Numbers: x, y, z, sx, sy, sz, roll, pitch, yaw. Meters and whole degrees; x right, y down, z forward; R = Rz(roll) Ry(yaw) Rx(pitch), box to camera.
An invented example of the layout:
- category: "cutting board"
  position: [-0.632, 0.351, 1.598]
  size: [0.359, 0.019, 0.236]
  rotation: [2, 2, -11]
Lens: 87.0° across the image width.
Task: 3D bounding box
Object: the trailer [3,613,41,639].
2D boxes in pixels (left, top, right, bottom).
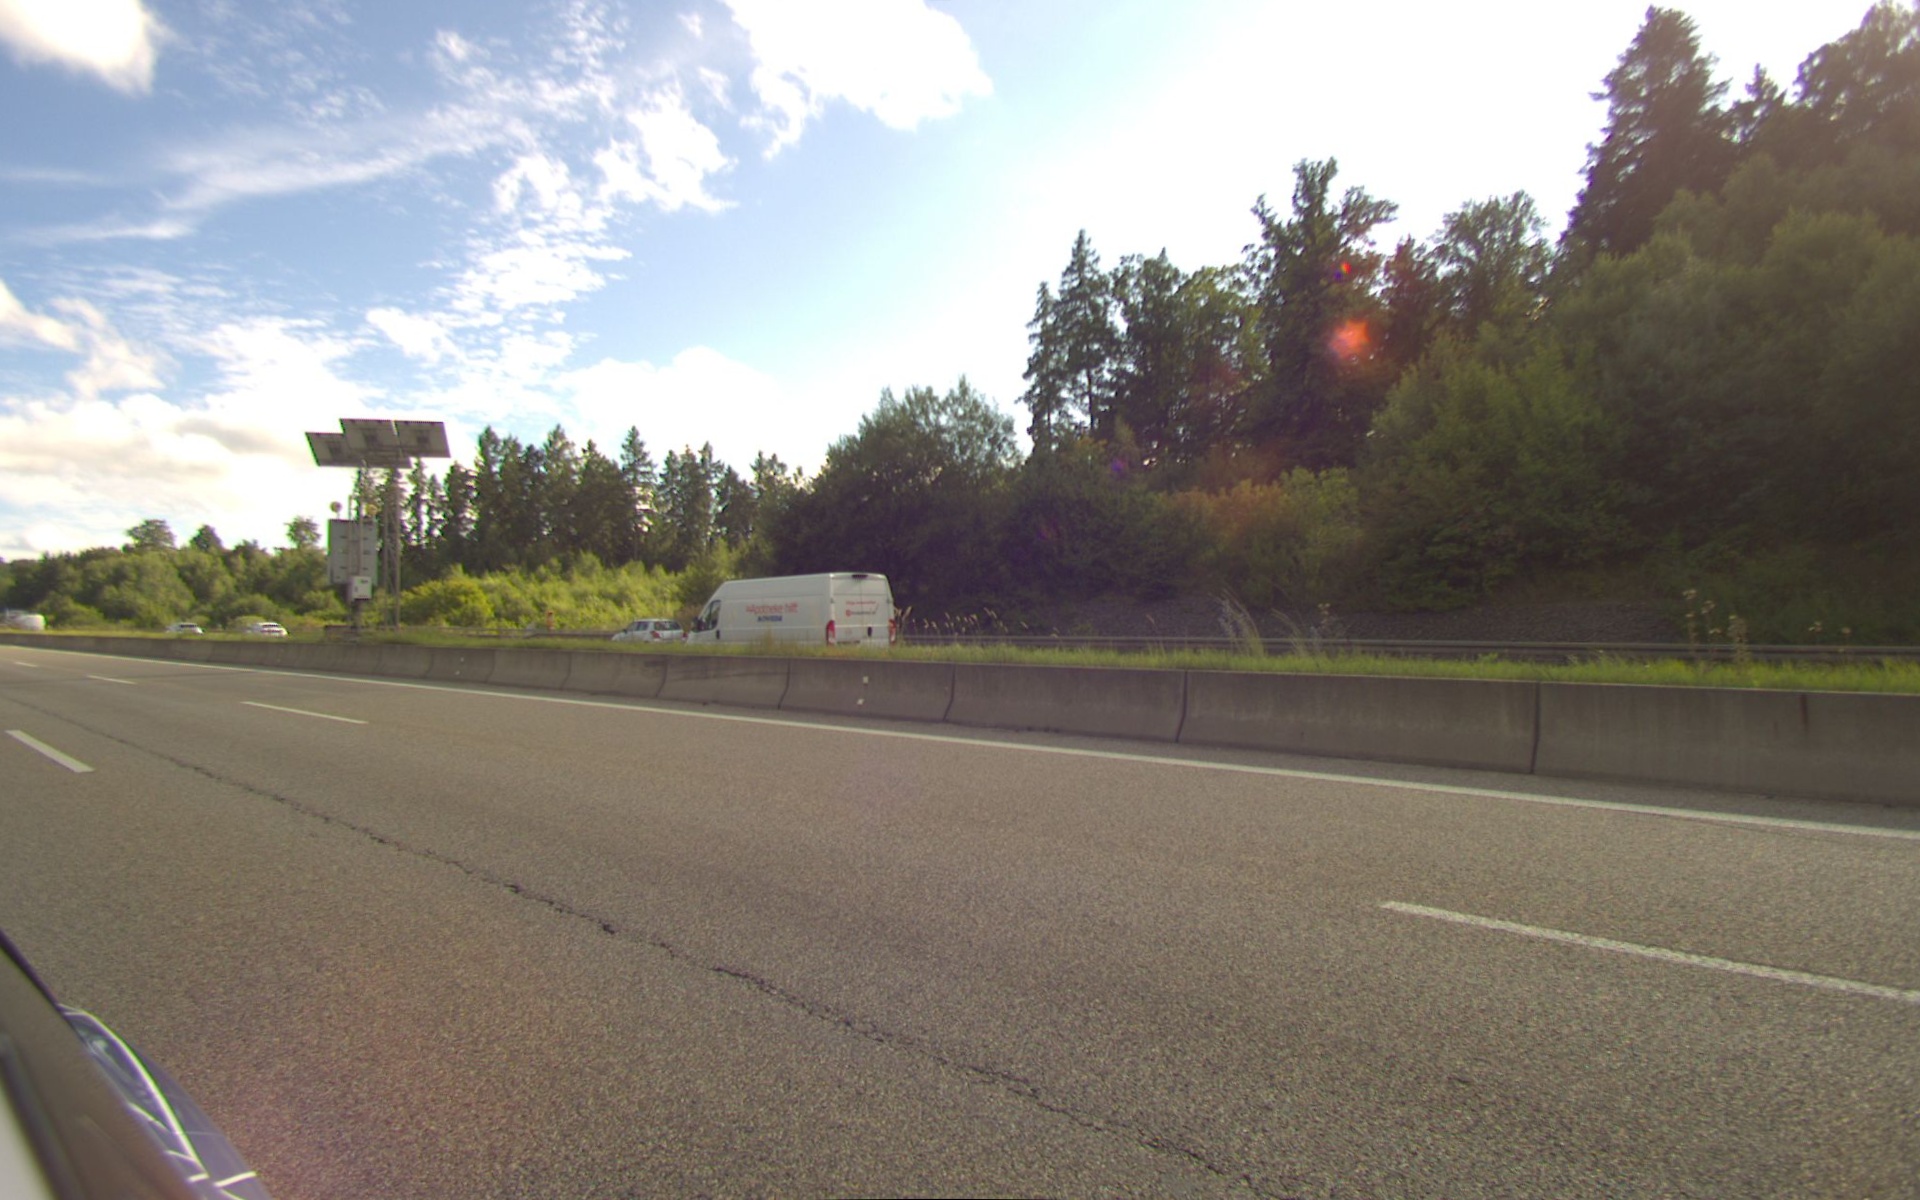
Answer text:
- category: "trailer"
  position: [-144.112, 4.050, 155.472]
  size: [12.203, 3.867, 3.091]
  rotation: [-2, -2, 41]

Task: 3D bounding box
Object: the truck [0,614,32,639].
- category: "truck"
  position: [-149.939, 4.204, 160.613]
  size: [7.119, 3.867, 3.082]
  rotation: [-2, -2, 41]

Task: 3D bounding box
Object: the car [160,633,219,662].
- category: "car"
  position: [-60.008, 3.638, 78.787]
  size: [5.964, 2.155, 2.552]
  rotation: [-2, -1, 42]

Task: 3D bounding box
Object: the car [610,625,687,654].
- category: "car"
  position: [-12.570, 1.588, 40.807]
  size: [3.172, 1.102, 1.575]
  rotation: [-2, -2, 42]

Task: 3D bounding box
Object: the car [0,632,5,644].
- category: "car"
  position: [-117.717, 4.615, 123.017]
  size: [3.999, 1.464, 1.972]
  rotation: [-2, -1, 42]

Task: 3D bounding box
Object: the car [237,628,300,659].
- category: "car"
  position: [-52.457, 3.267, 76.730]
  size: [5.964, 2.155, 2.552]
  rotation: [-2, -1, 42]

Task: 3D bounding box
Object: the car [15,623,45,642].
- category: "car"
  position: [-118.614, 4.174, 129.056]
  size: [6.721, 2.330, 2.087]
  rotation: [-2, -1, 41]
